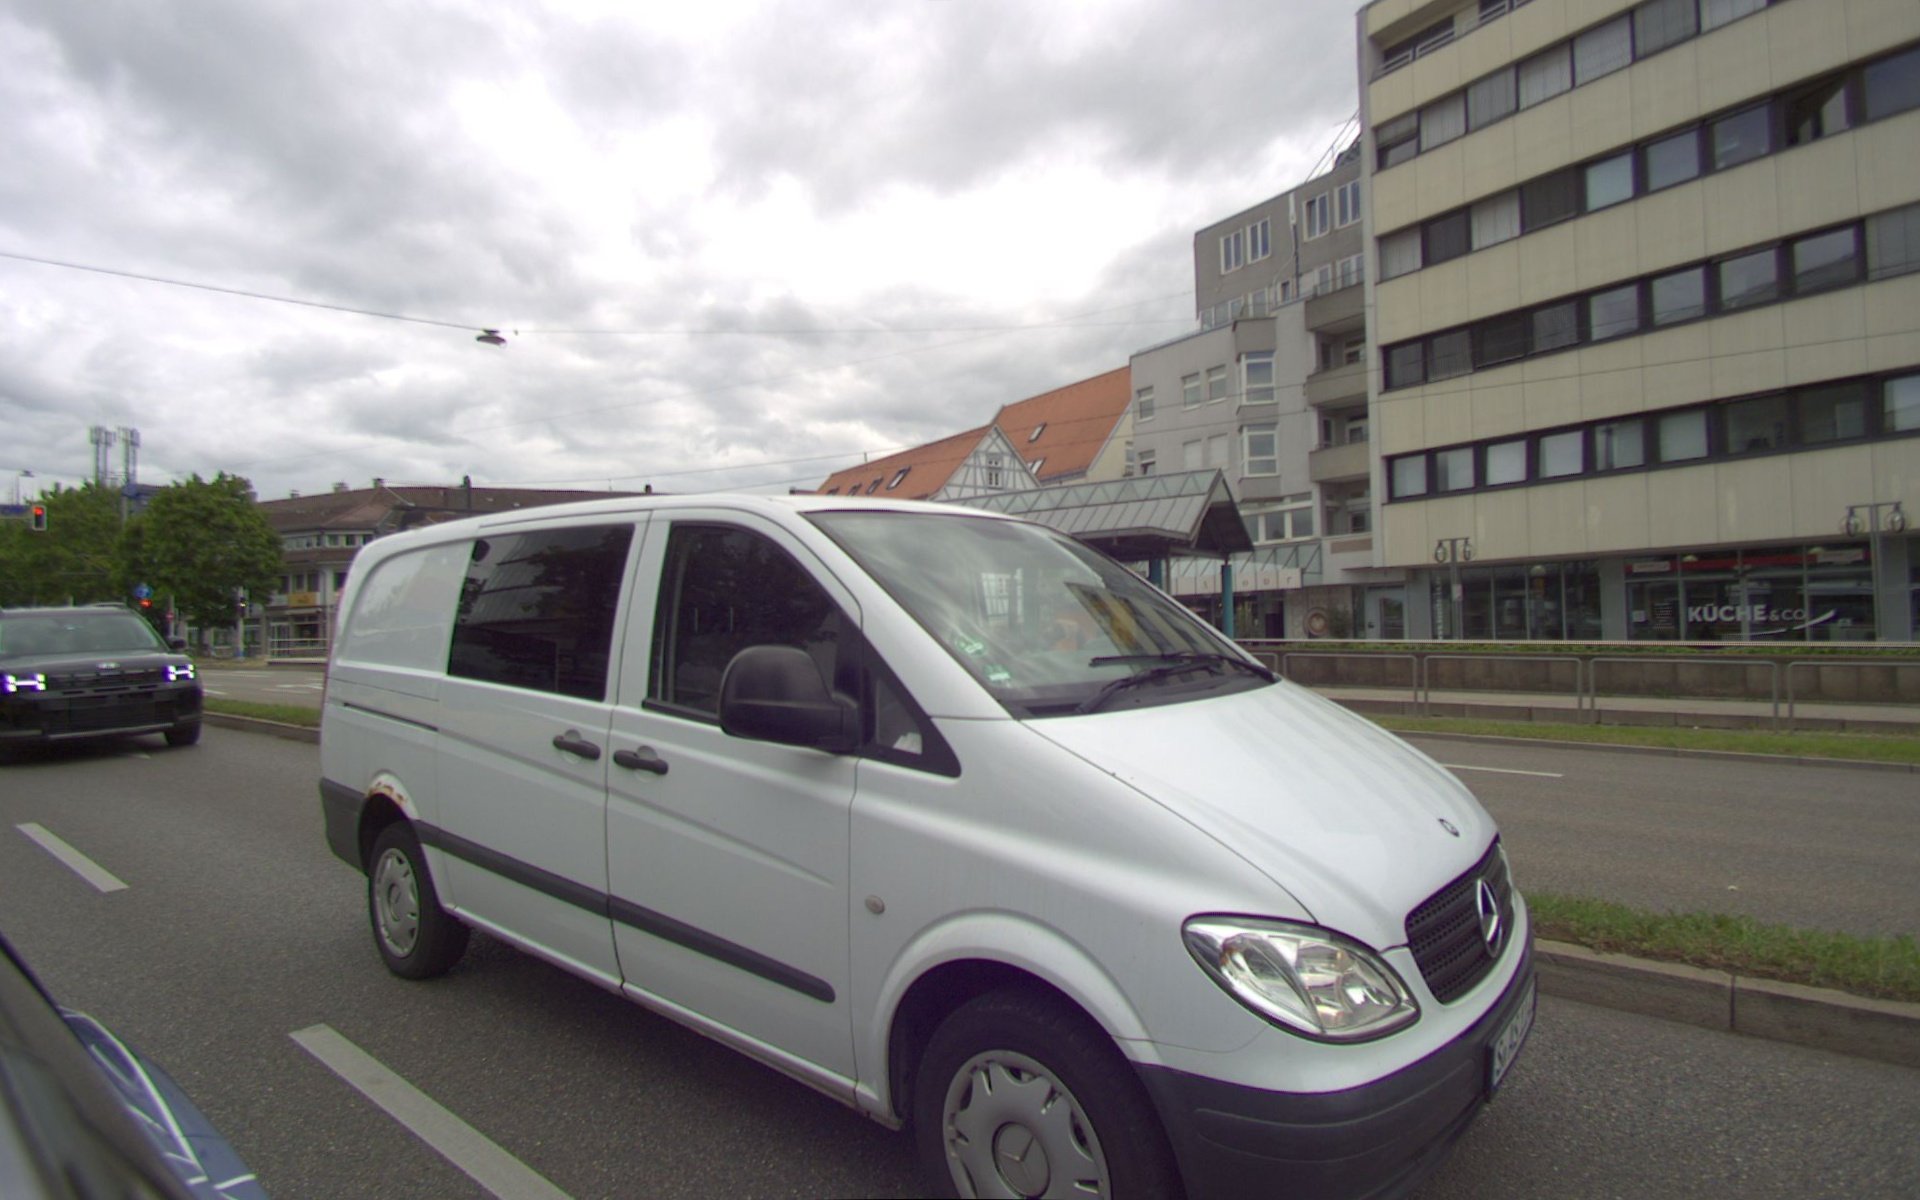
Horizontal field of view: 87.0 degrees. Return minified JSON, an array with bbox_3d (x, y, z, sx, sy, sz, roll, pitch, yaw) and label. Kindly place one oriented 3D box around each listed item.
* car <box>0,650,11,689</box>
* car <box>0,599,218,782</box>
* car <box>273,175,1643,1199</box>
[{"bbox_3d":[-39.312,2.740,39.751,4.632,1.524,1.977,-2,-2,34],"label":"car"},{"bbox_3d":[-10.943,0.965,12.293,4.672,1.764,1.904,-2,1,39],"label":"car"},{"bbox_3d":[-0.613,0.455,3.801,5.071,2.029,1.855,-3,0,40],"label":"car"}]
